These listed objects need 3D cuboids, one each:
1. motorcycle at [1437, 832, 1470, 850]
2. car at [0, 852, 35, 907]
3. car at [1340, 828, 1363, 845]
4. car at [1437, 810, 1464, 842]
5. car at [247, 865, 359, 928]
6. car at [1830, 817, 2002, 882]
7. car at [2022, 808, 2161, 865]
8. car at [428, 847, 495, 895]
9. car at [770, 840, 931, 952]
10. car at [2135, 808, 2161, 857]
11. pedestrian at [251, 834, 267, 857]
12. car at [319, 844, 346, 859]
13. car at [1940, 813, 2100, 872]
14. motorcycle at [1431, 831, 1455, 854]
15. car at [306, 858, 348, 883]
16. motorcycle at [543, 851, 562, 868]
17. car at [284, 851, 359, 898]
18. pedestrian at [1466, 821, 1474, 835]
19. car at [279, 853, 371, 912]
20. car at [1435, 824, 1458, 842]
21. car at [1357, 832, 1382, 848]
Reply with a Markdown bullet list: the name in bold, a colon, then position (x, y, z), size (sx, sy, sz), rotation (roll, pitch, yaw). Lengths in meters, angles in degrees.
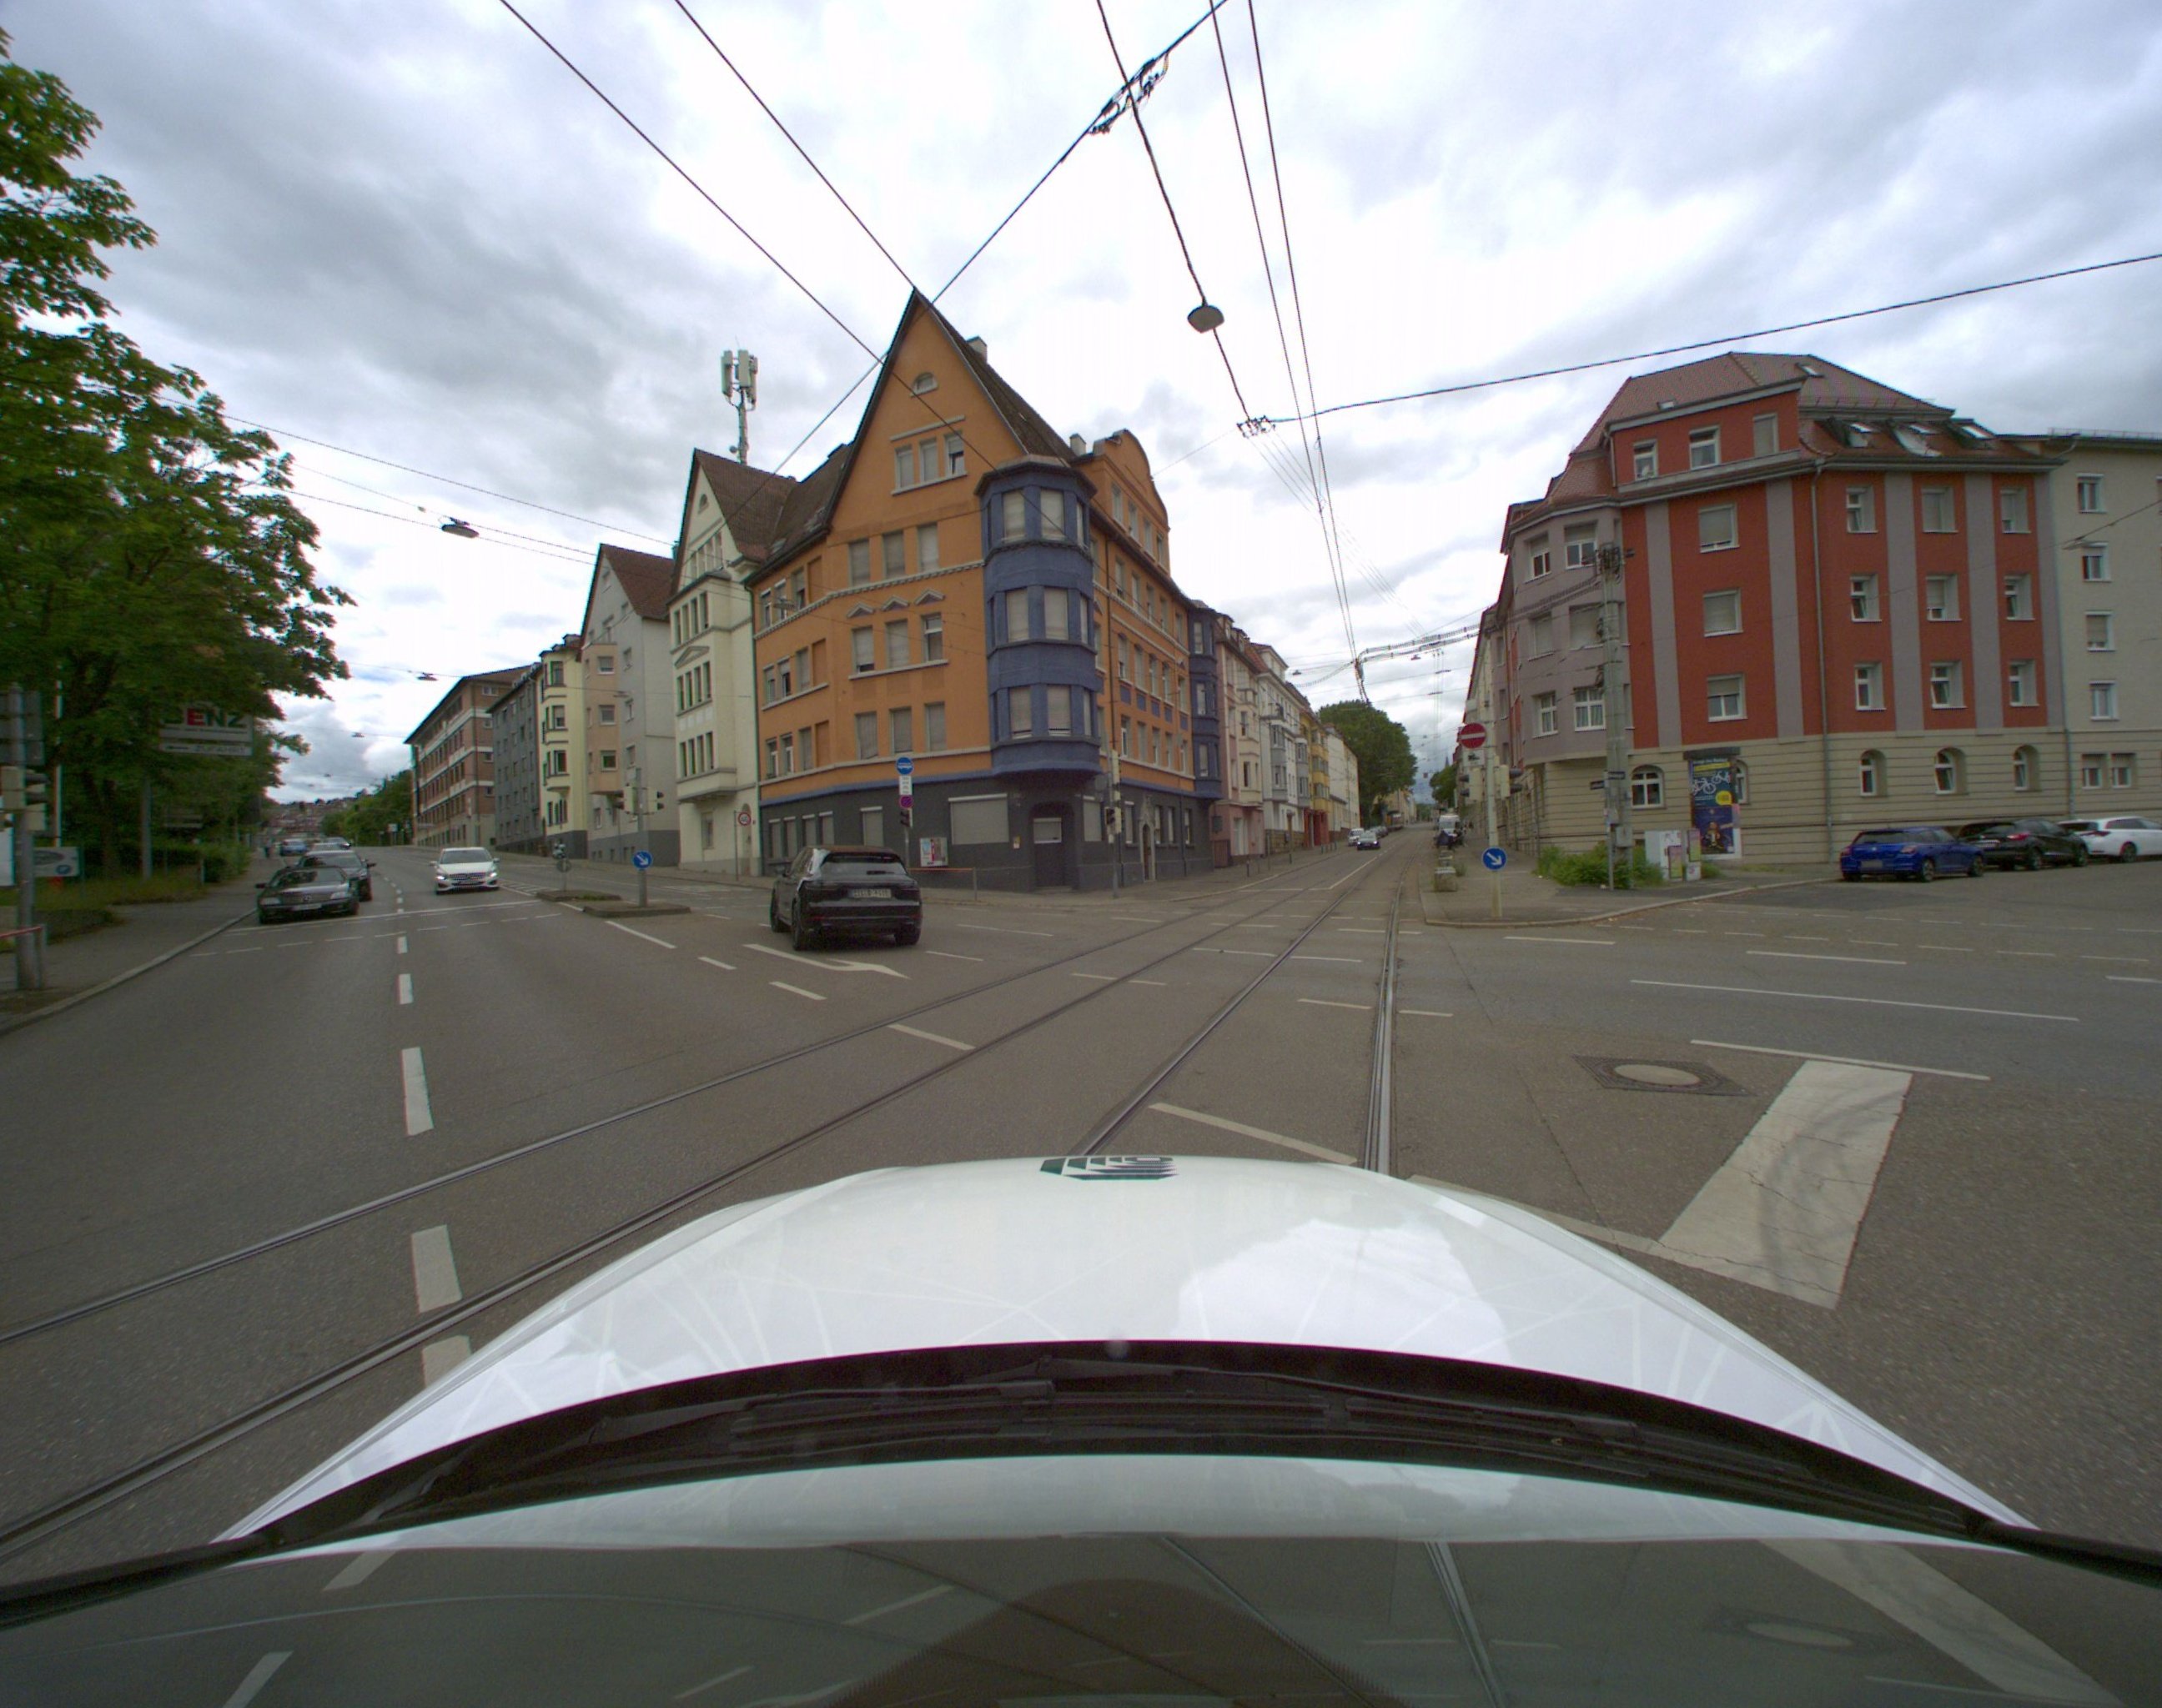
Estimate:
- **motorcycle**: position (27.771, -0.957, 60.738), size (2.161, 1.326, 0.702), rotation (-1, 1, 14)
- **car**: position (-31.871, 0.690, 23.413), size (3.950, 1.501, 1.723), rotation (0, -1, 44)
- **car**: position (28.755, -1.865, 86.502), size (1.975, 1.692, 4.023), rotation (-1, 1, 24)
- **car**: position (35.142, -2.621, 77.548), size (2.247, 2.890, 4.796), rotation (-1, 1, 24)
- **car**: position (-20.542, 1.045, 21.652), size (1.817, 1.281, 4.187), rotation (-5, 4, -40)
- **car**: position (23.144, -0.156, 22.573), size (4.144, 1.534, 1.905), rotation (-3, 2, -22)
- **car**: position (33.253, -0.593, 26.339), size (4.130, 1.632, 1.911), rotation (-3, 2, -11)
- **car**: position (-22.354, 0.557, 29.354), size (1.790, 1.546, 4.276), rotation (-1, 1, -38)
- **car**: position (-4.204, 0.620, 14.346), size (2.034, 1.641, 4.319), rotation (0, 0, -25)
- **car**: position (38.395, -0.795, 27.439), size (4.130, 1.632, 1.911), rotation (-3, 2, -11)
- **pedestrian**: position (-69.996, -0.742, 69.356), size (0.857, 1.950, 0.890), rotation (0, -1, 44)
- **car**: position (-78.845, -0.266, 85.751), size (4.257, 1.447, 1.856), rotation (0, 3, 45)
- **car**: position (28.471, -0.368, 24.698), size (4.143, 1.534, 1.905), rotation (-3, 2, -21)
- **motorcycle**: position (22.539, -0.716, 50.773), size (0.853, 1.326, 2.193), rotation (-8, -1, 15)
- **car**: position (-50.892, 1.072, 54.919), size (4.257, 1.447, 1.856), rotation (0, 3, 45)
- **motorcycle**: position (-38.362, 0.407, 59.124), size (2.198, 1.155, 0.542), rotation (0, 4, 42)
- **car**: position (-29.839, 0.741, 32.050), size (1.969, 1.593, 4.443), rotation (-5, 4, -43)
- **pedestrian**: position (46.919, -3.182, 98.241), size (0.673, 1.632, 0.678), rotation (-2, -3, 44)
- **car**: position (-24.791, 0.852, 26.795), size (1.969, 1.642, 4.360), rotation (-5, 4, -42)
- **car**: position (32.510, -1.854, 72.392), size (1.823, 1.568, 3.841), rotation (-1, 1, 24)
- **car**: position (24.624, -1.192, 69.447), size (1.671, 1.326, 3.683), rotation (-1, 1, 24)
